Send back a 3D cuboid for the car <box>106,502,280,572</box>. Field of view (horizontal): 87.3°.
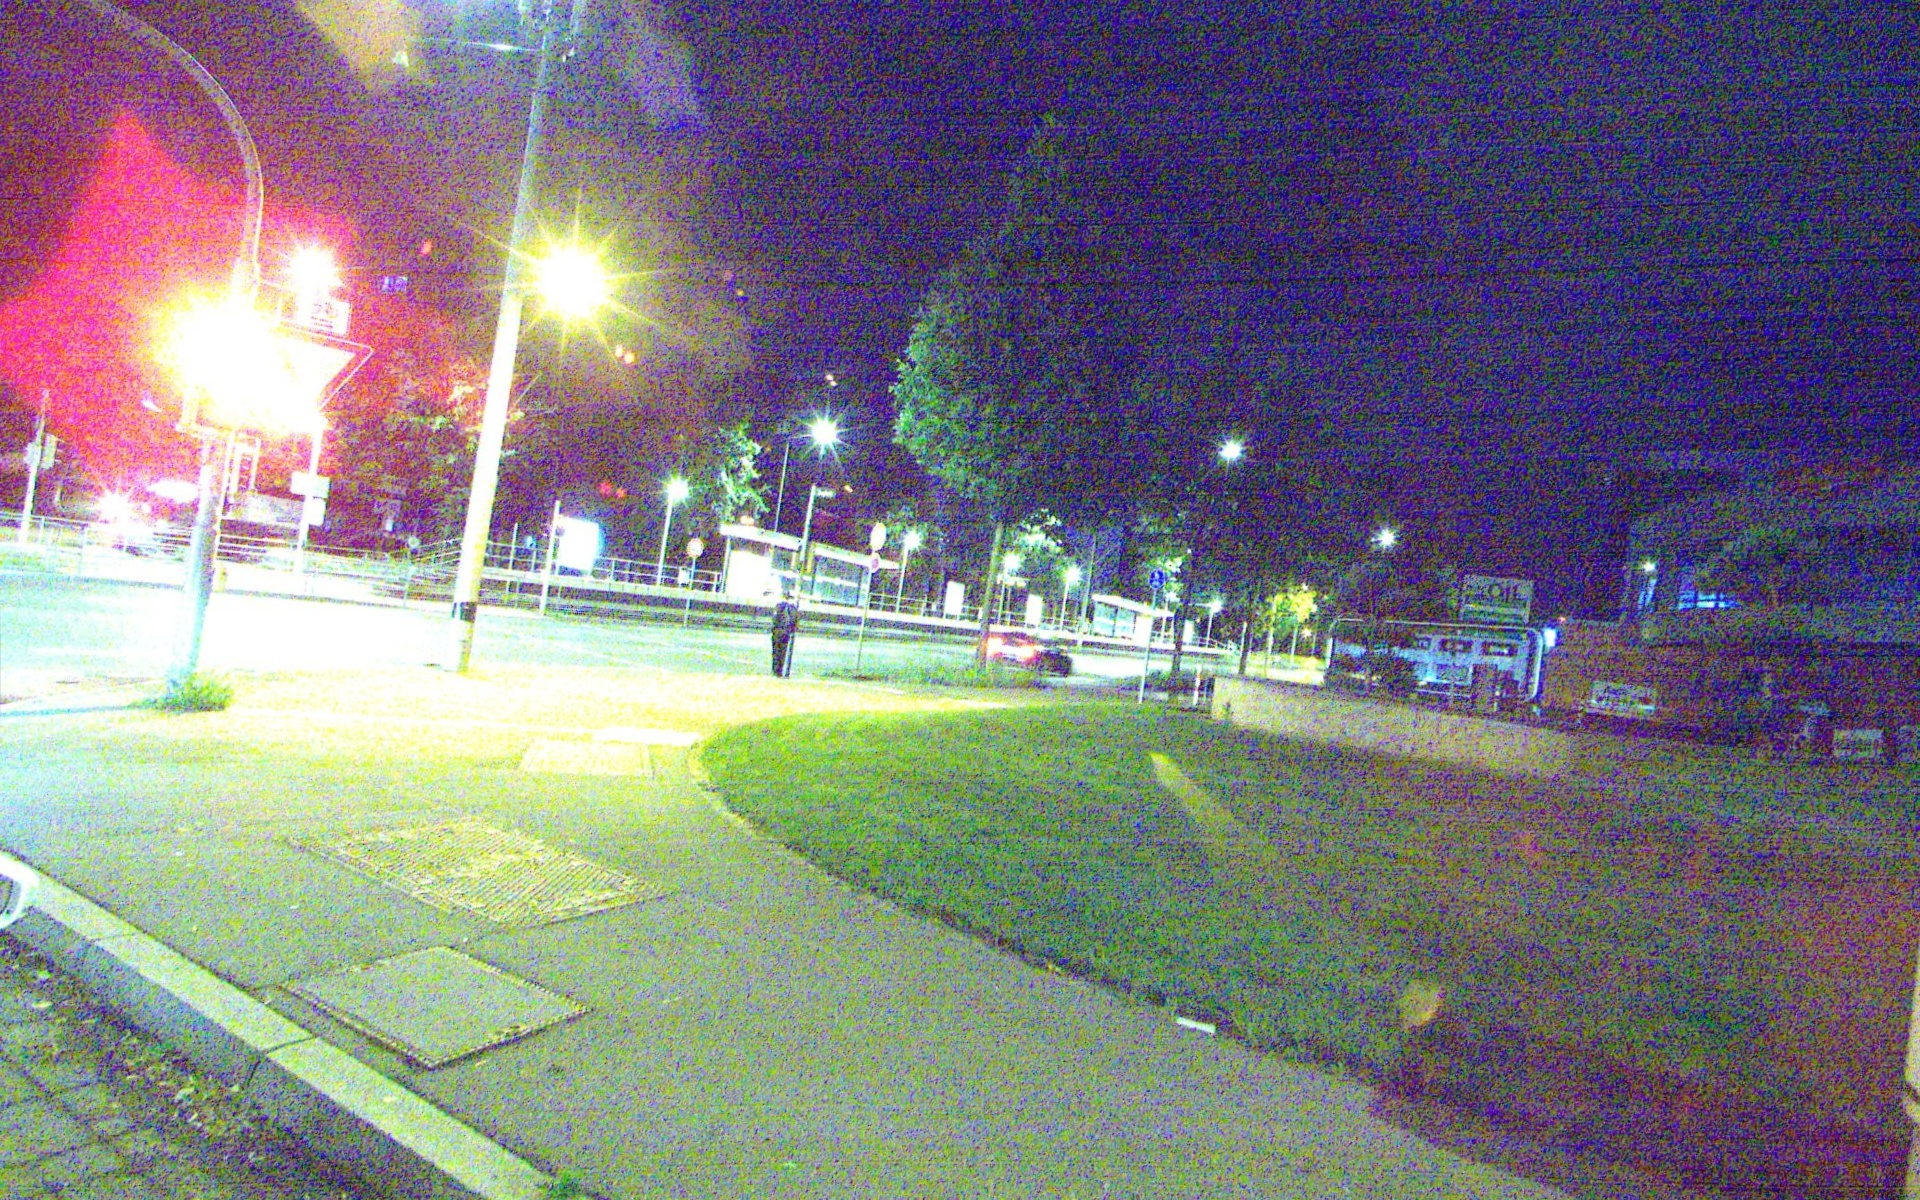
[{"bbox_3d":[-24.110,-1.966,31.746,1.777,1.604,3.984,7,0,39],"label":"car"}]

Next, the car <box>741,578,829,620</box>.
[{"bbox_3d":[-9.272,-0.031,53.531,1.816,1.604,4.576,8,-1,33],"label":"car"}]

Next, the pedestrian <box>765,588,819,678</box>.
[{"bbox_3d":[-3.289,0.635,19.603,0.867,1.677,0.835,2,1,-18],"label":"pedestrian"}]

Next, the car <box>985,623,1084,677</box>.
[{"bbox_3d":[2.668,1.776,35.107,1.631,1.492,3.880,10,1,32],"label":"car"}]

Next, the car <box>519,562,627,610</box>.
[{"bbox_3d":[-17.765,-0.619,46.329,1.776,1.603,4.237,5,-3,36],"label":"car"}]

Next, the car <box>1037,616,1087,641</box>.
[{"bbox_3d":[7.890,2.216,77.775,1.822,1.437,4.429,6,-1,35],"label":"car"}]
